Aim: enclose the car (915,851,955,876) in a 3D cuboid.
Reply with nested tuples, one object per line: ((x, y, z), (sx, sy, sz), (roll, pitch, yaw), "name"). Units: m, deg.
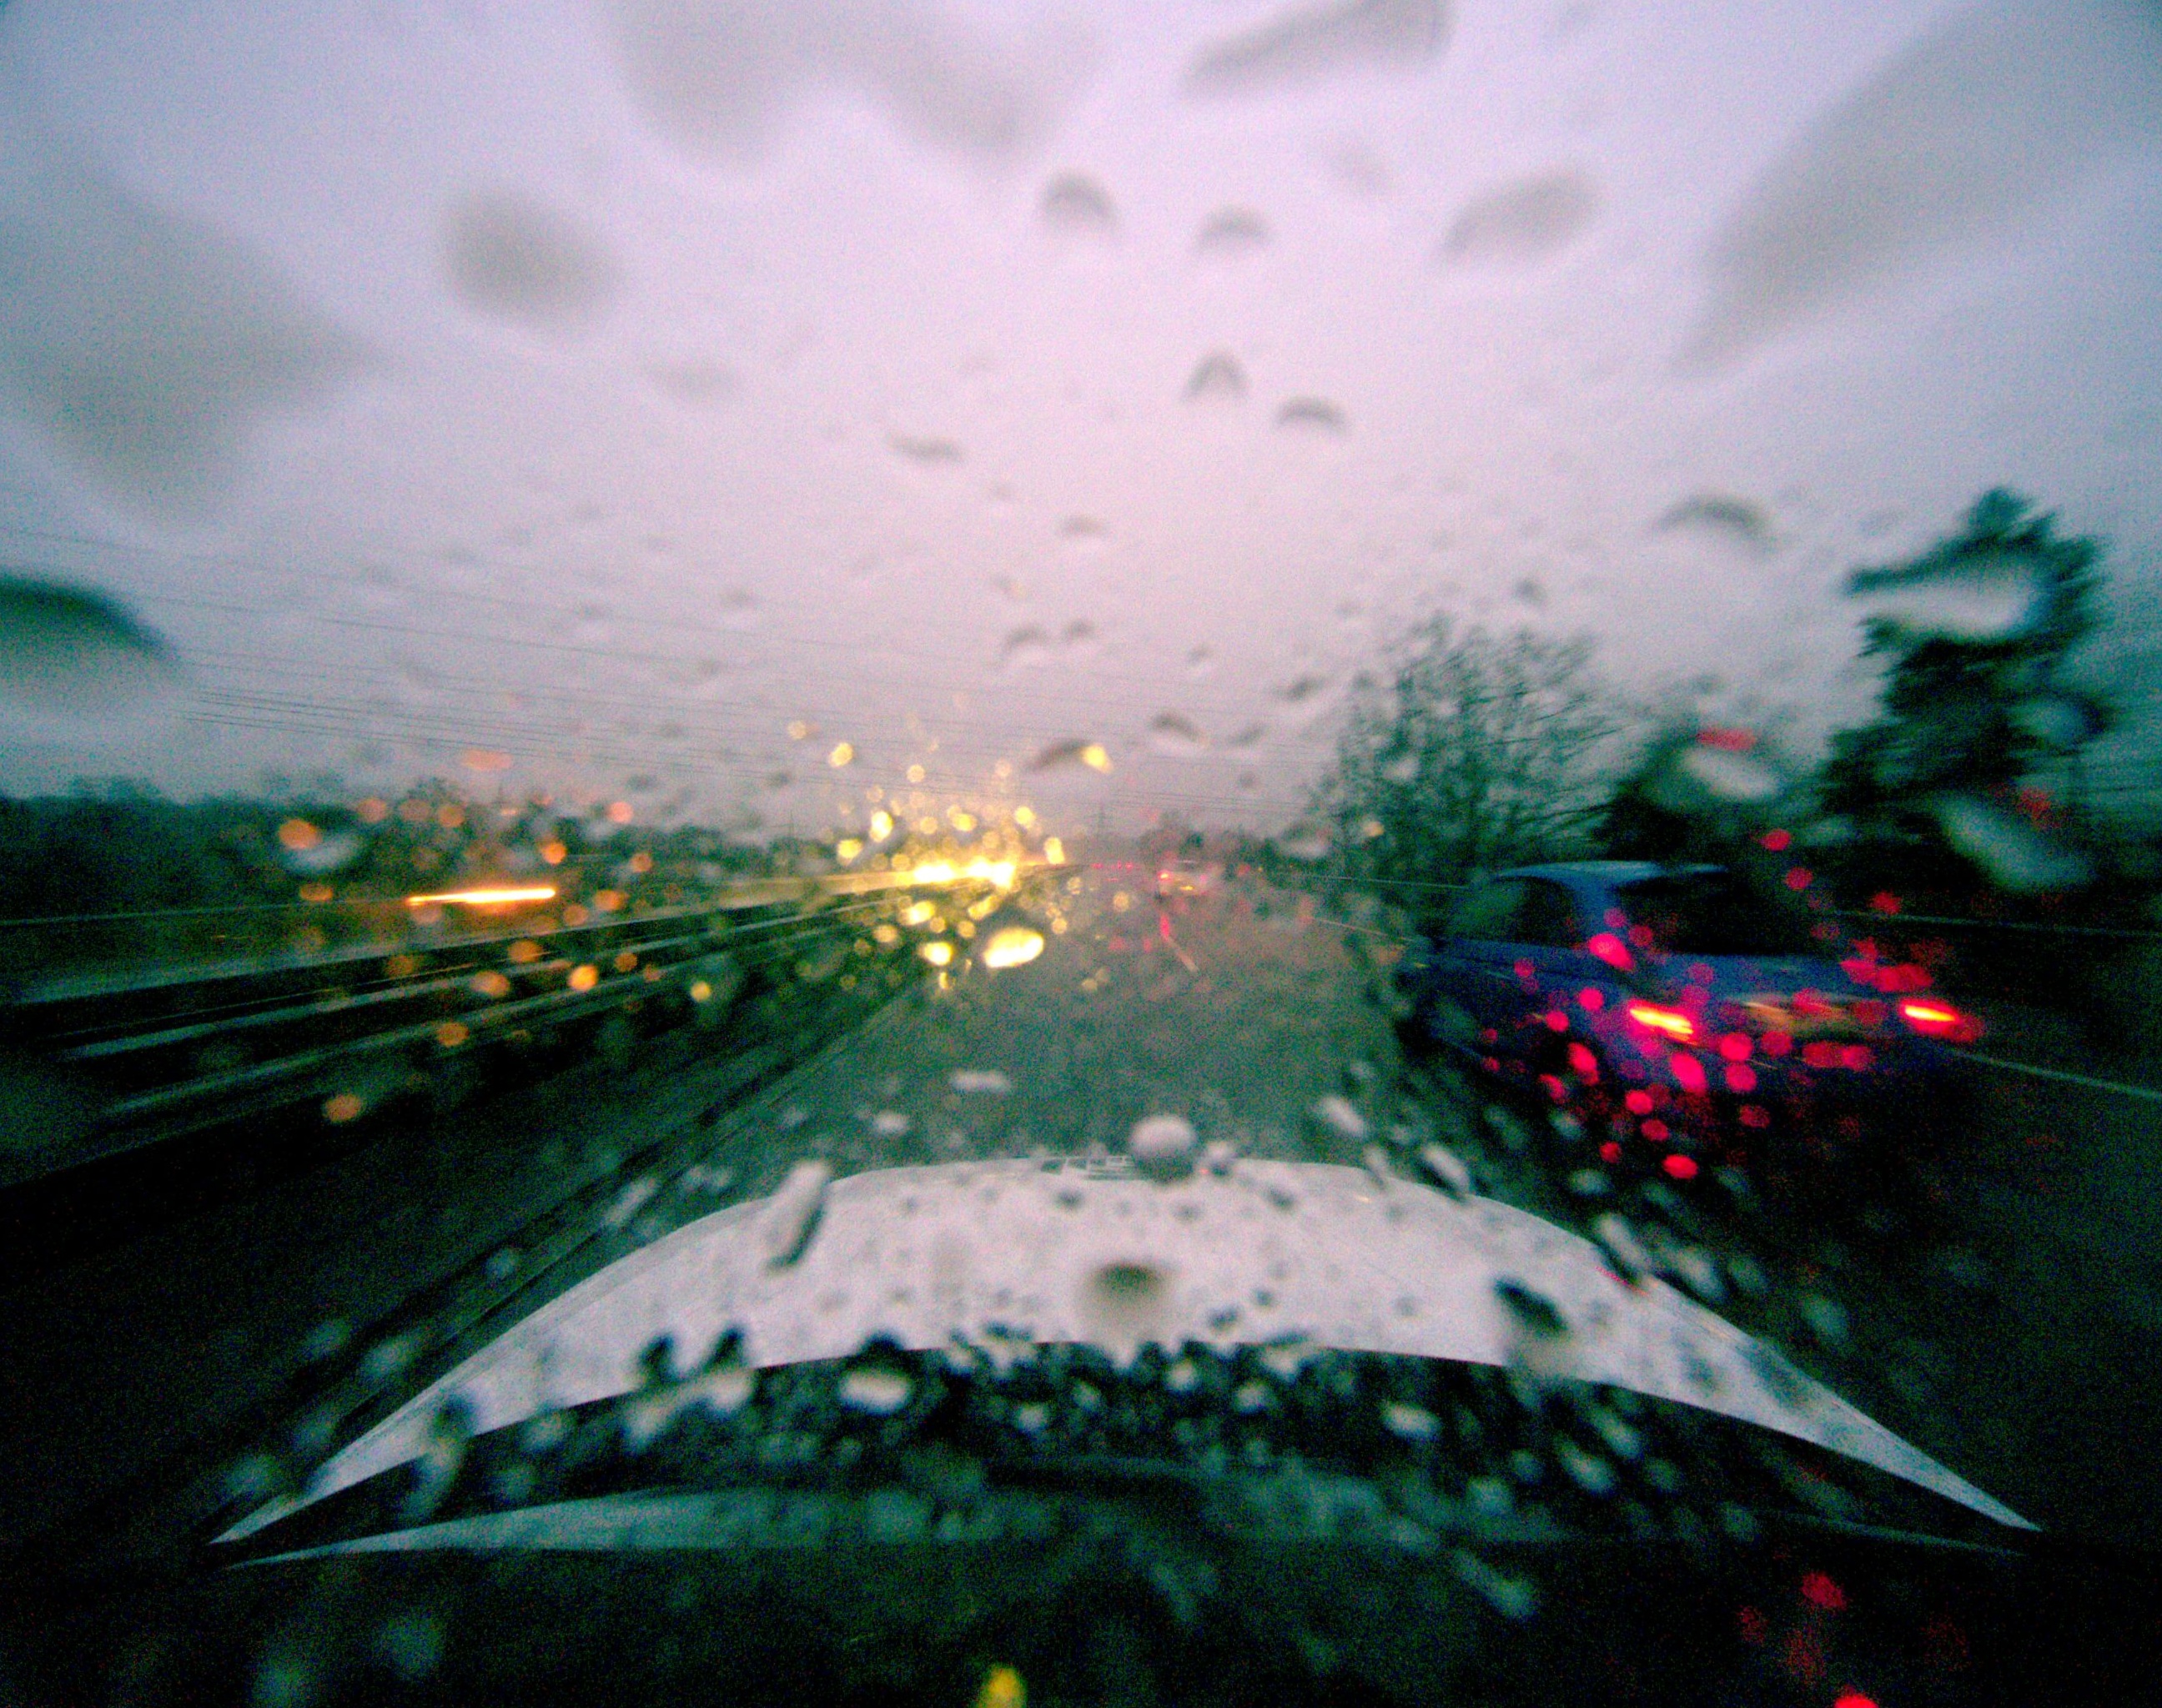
((-10.852, 0.692, 60.810), (2.063, 1.791, 4.340), (-1, 0, 1), "car")

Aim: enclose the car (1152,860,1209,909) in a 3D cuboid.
((3.610, 1.066, 30.075), (1.837, 1.636, 3.771), (-1, 0, 4), "car")

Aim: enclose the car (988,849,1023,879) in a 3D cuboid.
((-5.682, 0.746, 61.460), (2.063, 2.114, 4.763), (-1, 0, 1), "car")

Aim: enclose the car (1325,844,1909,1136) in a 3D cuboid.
((3.335, 0.703, 6.211), (1.838, 1.453, 4.151), (-1, 0, 2), "car")

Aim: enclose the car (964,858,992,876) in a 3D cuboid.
((-10.502, 1.298, 83.165), (2.156, 1.791, 4.810), (-1, 0, 1), "car")

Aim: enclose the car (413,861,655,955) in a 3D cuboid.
((-11.895, 1.067, 18.251), (2.063, 1.791, 4.848), (-1, 0, 1), "car")
